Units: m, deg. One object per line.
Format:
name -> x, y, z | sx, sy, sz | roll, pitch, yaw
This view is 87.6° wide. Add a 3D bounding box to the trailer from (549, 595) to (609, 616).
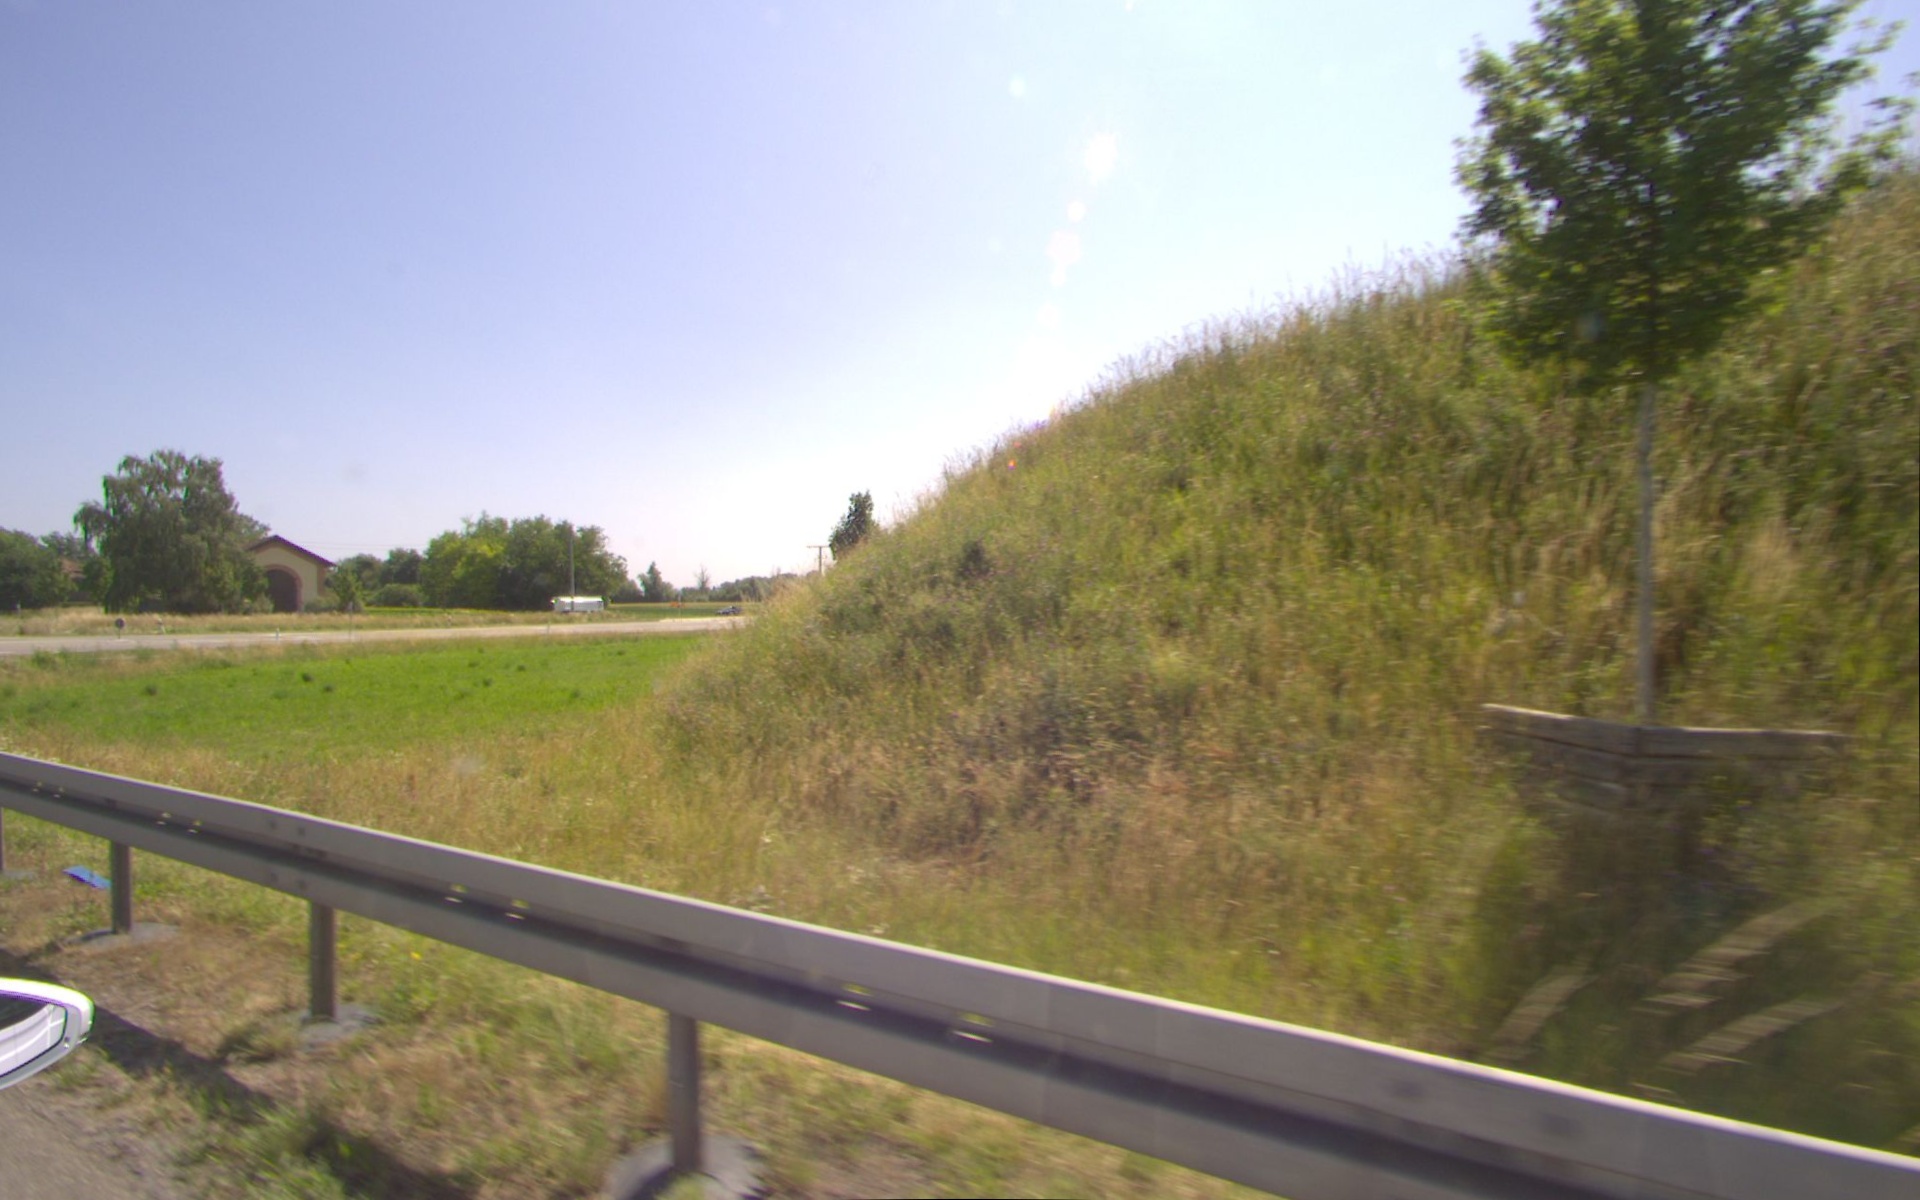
trailer -> -45.911, 0.623, 120.808 | 2.652, 2.489, 6.337 | 2, 1, 38
